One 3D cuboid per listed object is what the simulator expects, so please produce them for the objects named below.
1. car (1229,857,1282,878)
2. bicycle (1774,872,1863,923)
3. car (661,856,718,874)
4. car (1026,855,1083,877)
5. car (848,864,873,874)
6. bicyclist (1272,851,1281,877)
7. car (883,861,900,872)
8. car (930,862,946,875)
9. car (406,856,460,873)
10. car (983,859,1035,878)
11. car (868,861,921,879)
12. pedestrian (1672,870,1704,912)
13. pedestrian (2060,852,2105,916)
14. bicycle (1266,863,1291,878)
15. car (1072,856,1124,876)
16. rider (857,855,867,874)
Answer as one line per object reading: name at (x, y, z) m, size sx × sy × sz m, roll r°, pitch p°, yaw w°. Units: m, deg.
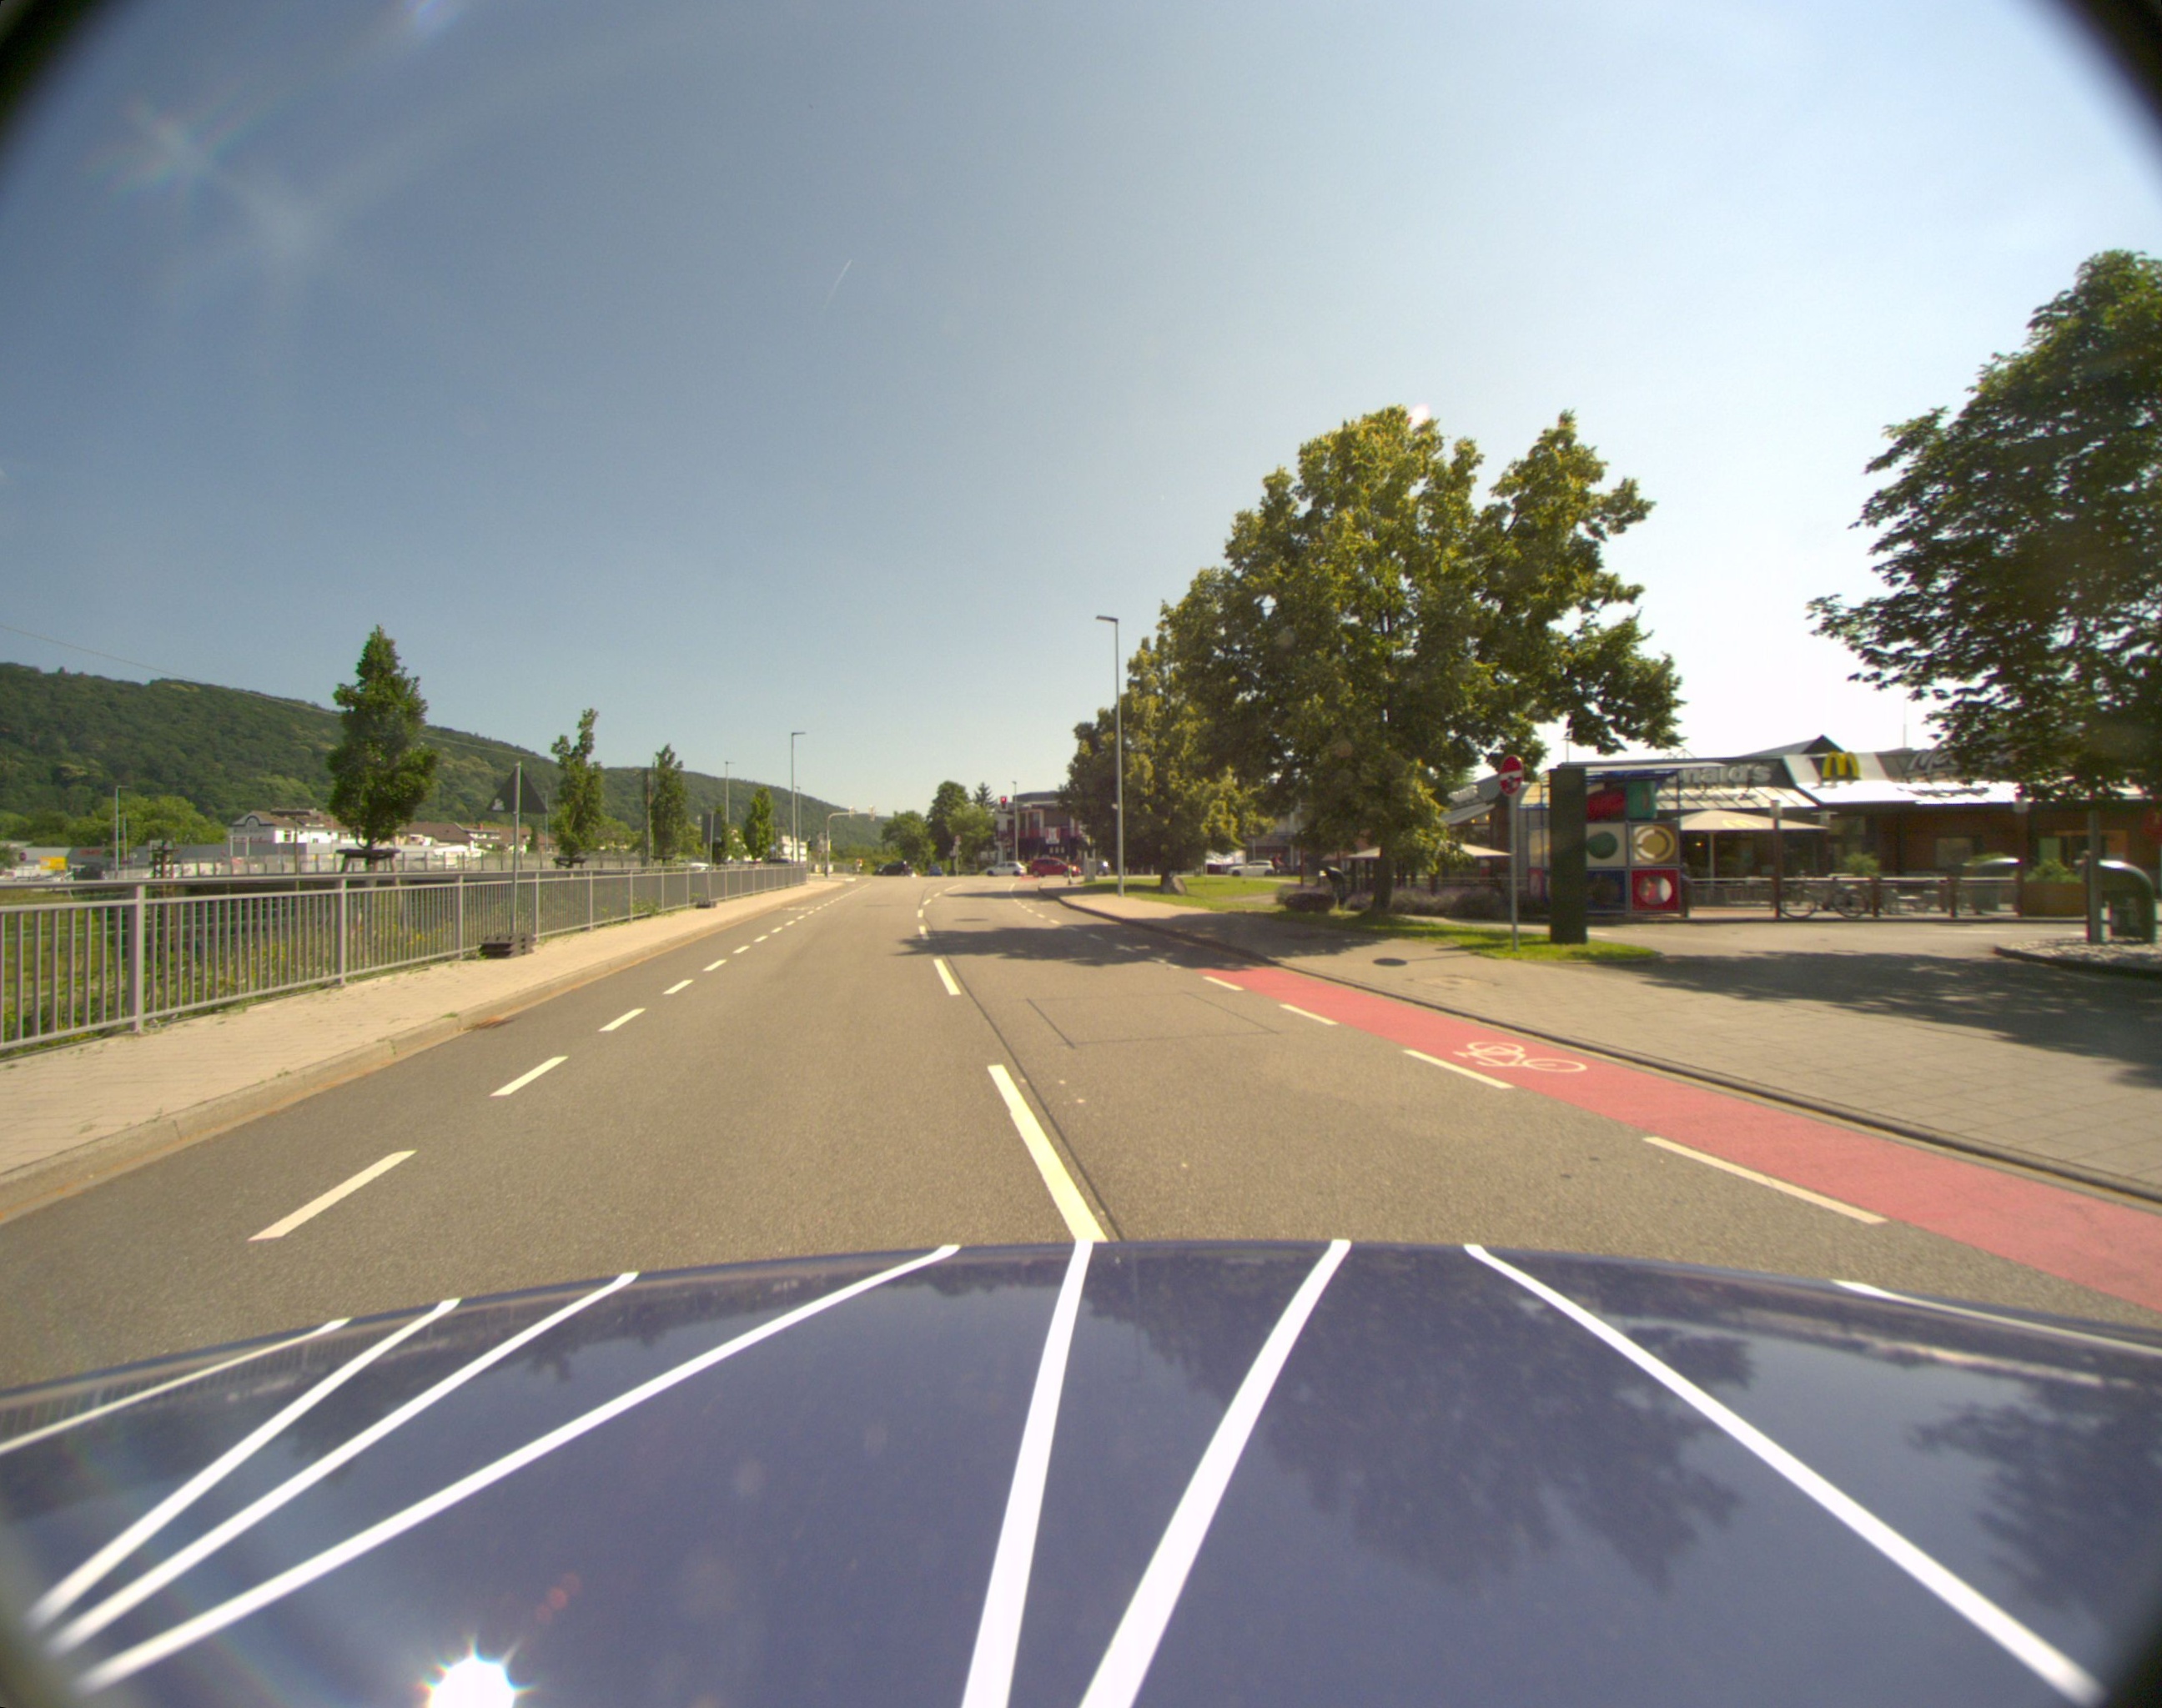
car at (14.914, 1.155, 65.153) m, size 4.363 × 1.618 × 1.832 m, roll 0°, pitch 3°, yaw 12°
bicycle at (18.057, 1.061, 18.620) m, size 1.609 × 1.180 × 0.310 m, roll -2°, pitch 2°, yaw 15°
car at (-37.280, 1.031, 72.324) m, size 4.758 × 1.643 × 1.833 m, roll 0°, pitch 3°, yaw 16°
car at (-2.144, 0.962, 62.660) m, size 4.363 × 1.670 × 1.832 m, roll 0°, pitch 3°, yaw 11°
car at (-21.964, 1.491, 75.809) m, size 2.379 × 0.897 × 0.576 m, roll 0°, pitch 3°, yaw 12°
bicyclist at (14.402, 0.760, 55.919) m, size 0.656 × 1.886 × 0.553 m, roll 0°, pitch 3°, yaw 13°
car at (-21.232, 1.395, 85.083) m, size 1.612 × 1.248 × 3.677 m, roll 0°, pitch 0°, yaw -16°
car at (-17.683, 1.772, 93.781) m, size 1.612 × 1.527 × 3.677 m, roll 0°, pitch 0°, yaw -16°
car at (-66.113, 1.047, 77.557) m, size 4.572 × 1.643 × 1.833 m, roll 0°, pitch 3°, yaw 15°
car at (-6.616, 1.304, 69.640) m, size 4.363 × 1.618 × 1.832 m, roll 0°, pitch 3°, yaw 13°
car at (-17.568, 1.498, 71.615) m, size 4.363 × 1.483 × 1.832 m, roll 0°, pitch 3°, yaw 13°
pedestrian at (19.035, 1.153, 23.829) m, size 0.551 × 1.203 × 0.593 m, roll -5°, pitch 2°, yaw 19°
pedestrian at (25.210, 0.739, 19.130) m, size 0.572 × 1.558 × 0.595 m, roll -1°, pitch 1°, yaw -29°
bicycle at (14.538, 1.212, 55.912) m, size 1.722 × 1.037 × 0.583 m, roll 0°, pitch 3°, yaw 13°
car at (1.505, 1.044, 67.852) m, size 4.363 × 1.618 × 1.832 m, roll 0°, pitch 3°, yaw 12°
rider at (-21.863, 1.052, 75.744) m, size 0.684 × 1.804 × 0.548 m, roll 0°, pitch 3°, yaw 12°
